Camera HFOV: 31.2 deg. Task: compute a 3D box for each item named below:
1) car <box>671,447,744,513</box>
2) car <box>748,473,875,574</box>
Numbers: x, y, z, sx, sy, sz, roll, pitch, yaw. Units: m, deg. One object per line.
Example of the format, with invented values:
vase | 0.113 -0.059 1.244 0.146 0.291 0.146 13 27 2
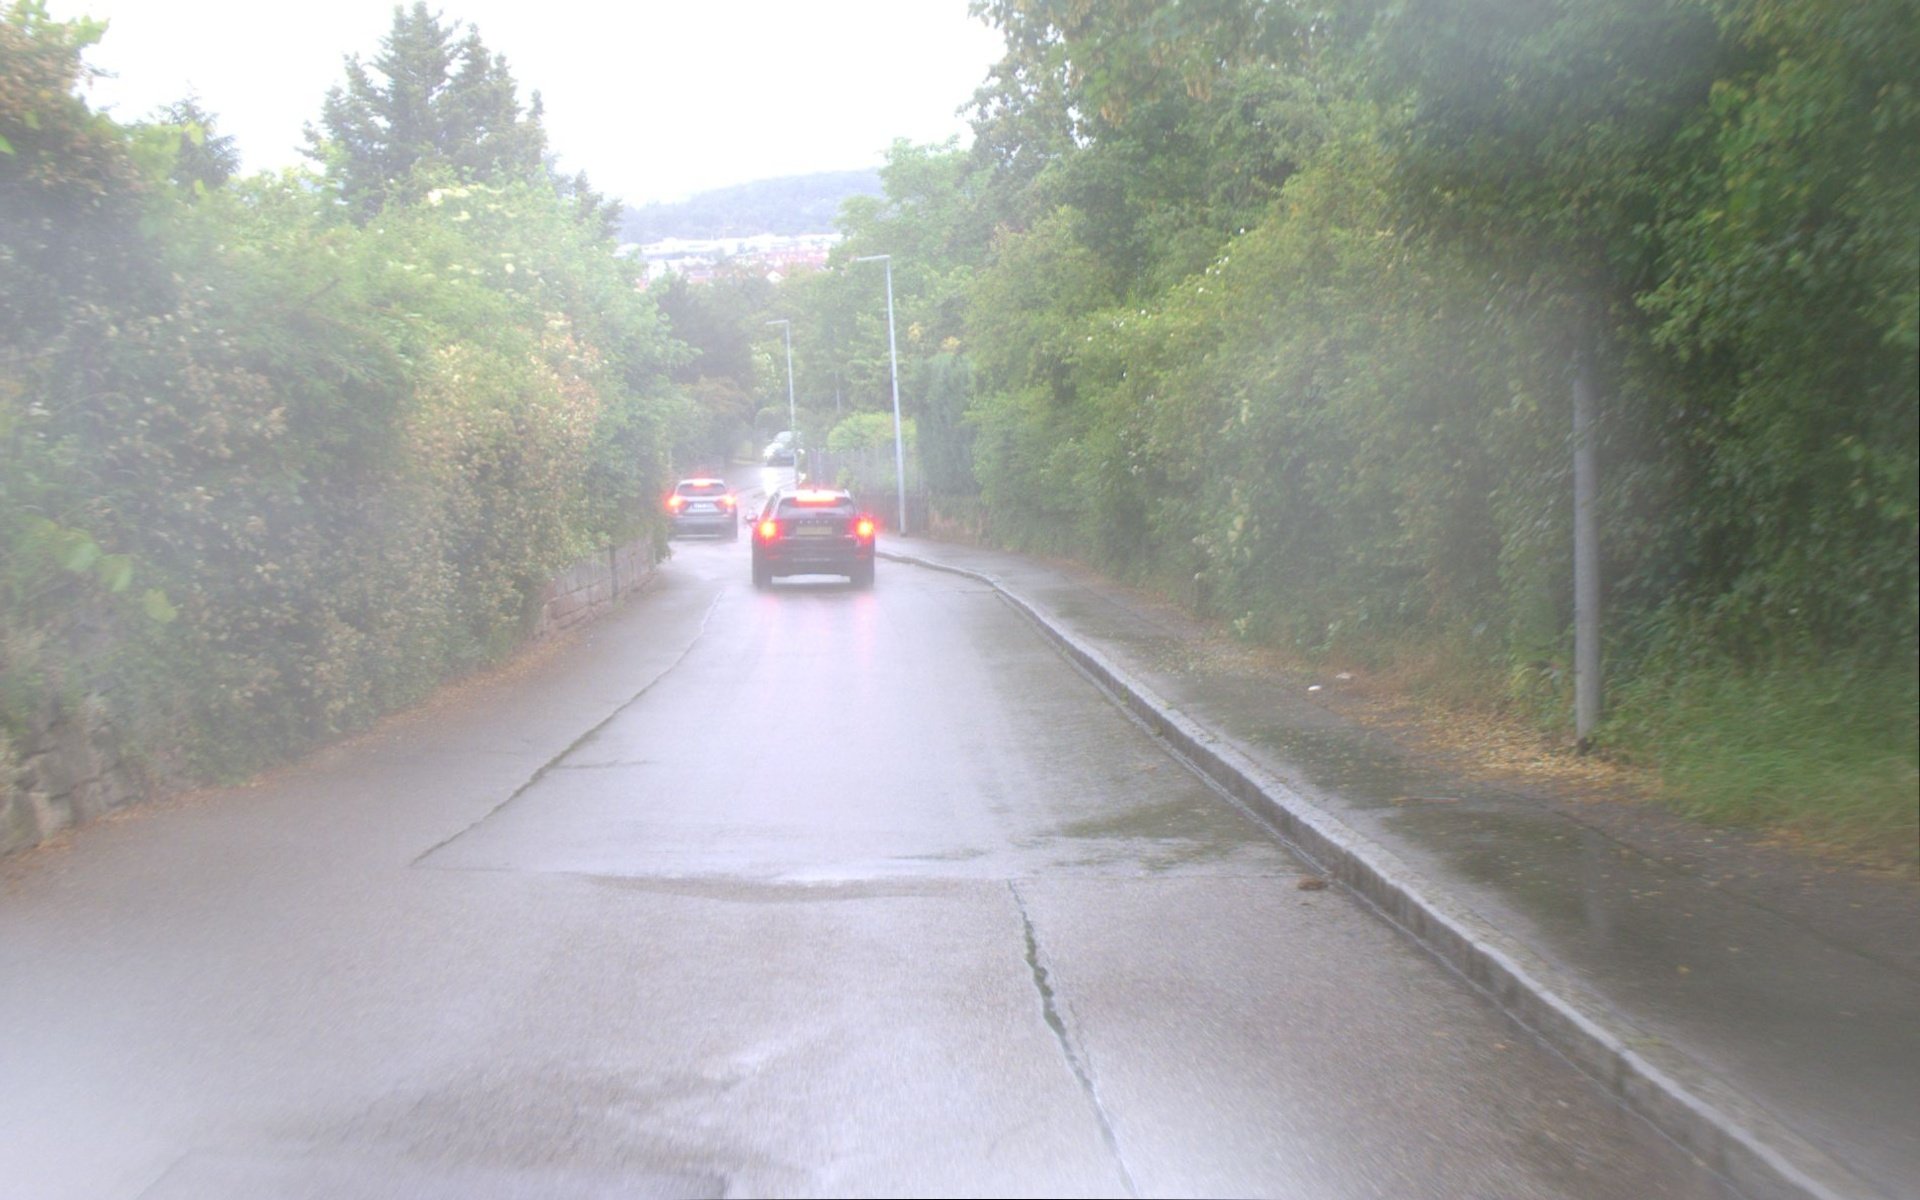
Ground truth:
car | -6.437 -3.091 87.872 1.678 1.559 3.795 0 4 -1
car | -2.260 -1.175 52.071 1.834 1.459 4.001 0 2 -3
